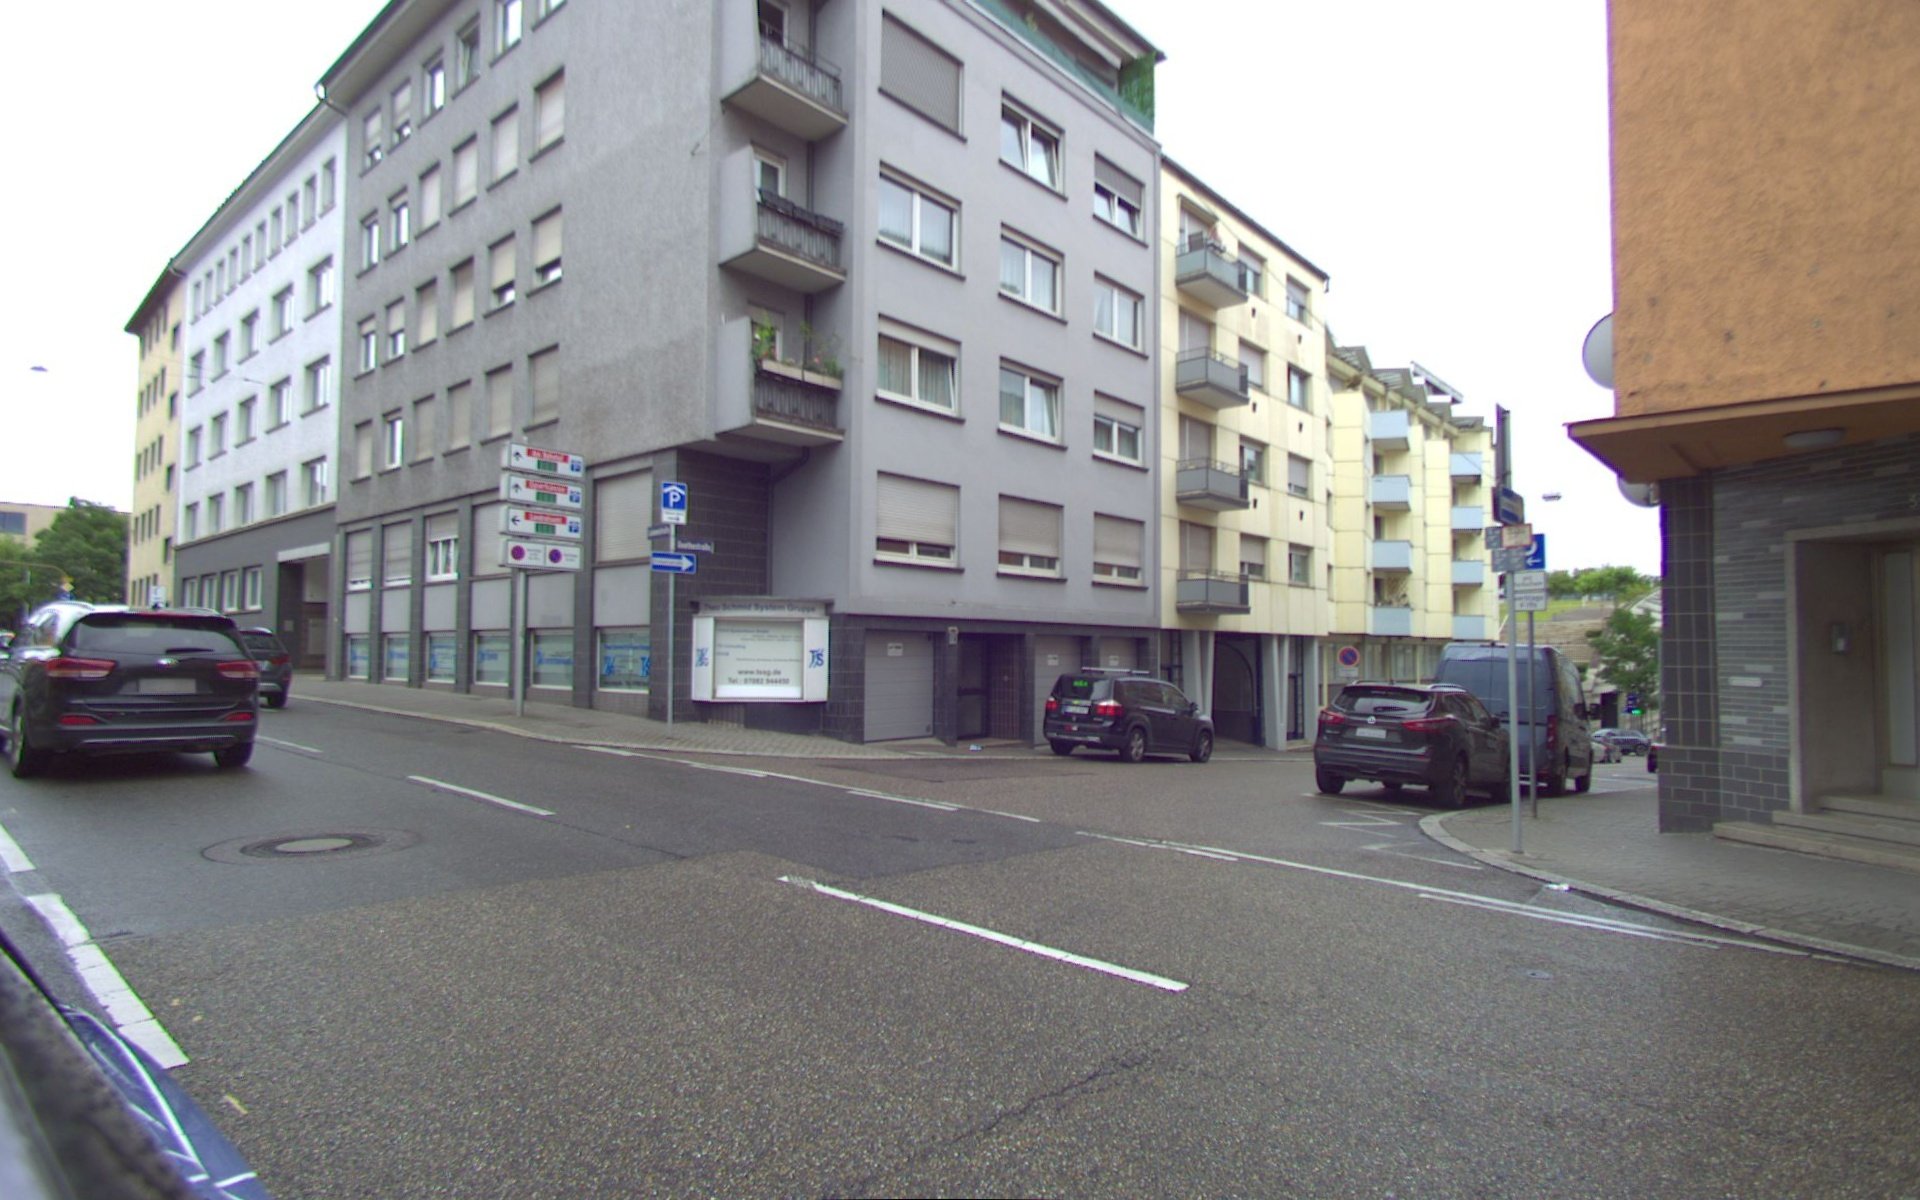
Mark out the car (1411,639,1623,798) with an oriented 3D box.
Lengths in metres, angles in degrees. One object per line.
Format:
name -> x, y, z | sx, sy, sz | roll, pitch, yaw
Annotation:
car -> 10.561, 2.219, 18.901 | 2.249, 2.481, 5.975 | -1, -7, 41

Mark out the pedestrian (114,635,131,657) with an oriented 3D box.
pedestrian -> -44.794, 2.477, 54.122 | 0.407, 1.158, 0.575 | -2, -6, 42

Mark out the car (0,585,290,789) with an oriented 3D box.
car -> -8.985, 0.846, 10.806 | 4.471, 1.740, 1.817 | -1, -5, 41

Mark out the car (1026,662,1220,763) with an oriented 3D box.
car -> 3.315, 2.263, 19.938 | 1.794, 1.700, 4.186 | -1, -8, 41

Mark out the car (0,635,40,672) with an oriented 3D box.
car -> -43.966, 2.454, 46.594 | 4.371, 1.602, 1.858 | -1, -3, 41

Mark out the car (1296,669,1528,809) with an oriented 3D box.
car -> 6.433, 1.943, 14.142 | 1.842, 1.589, 4.098 | -1, -8, 41

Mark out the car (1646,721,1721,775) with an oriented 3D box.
car -> 25.933, 5.322, 36.241 | 1.817, 1.688, 3.998 | -1, -8, 41

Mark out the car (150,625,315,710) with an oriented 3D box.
car -> -14.648, 1.319, 20.297 | 4.157, 1.519, 1.685 | -1, -5, 41
